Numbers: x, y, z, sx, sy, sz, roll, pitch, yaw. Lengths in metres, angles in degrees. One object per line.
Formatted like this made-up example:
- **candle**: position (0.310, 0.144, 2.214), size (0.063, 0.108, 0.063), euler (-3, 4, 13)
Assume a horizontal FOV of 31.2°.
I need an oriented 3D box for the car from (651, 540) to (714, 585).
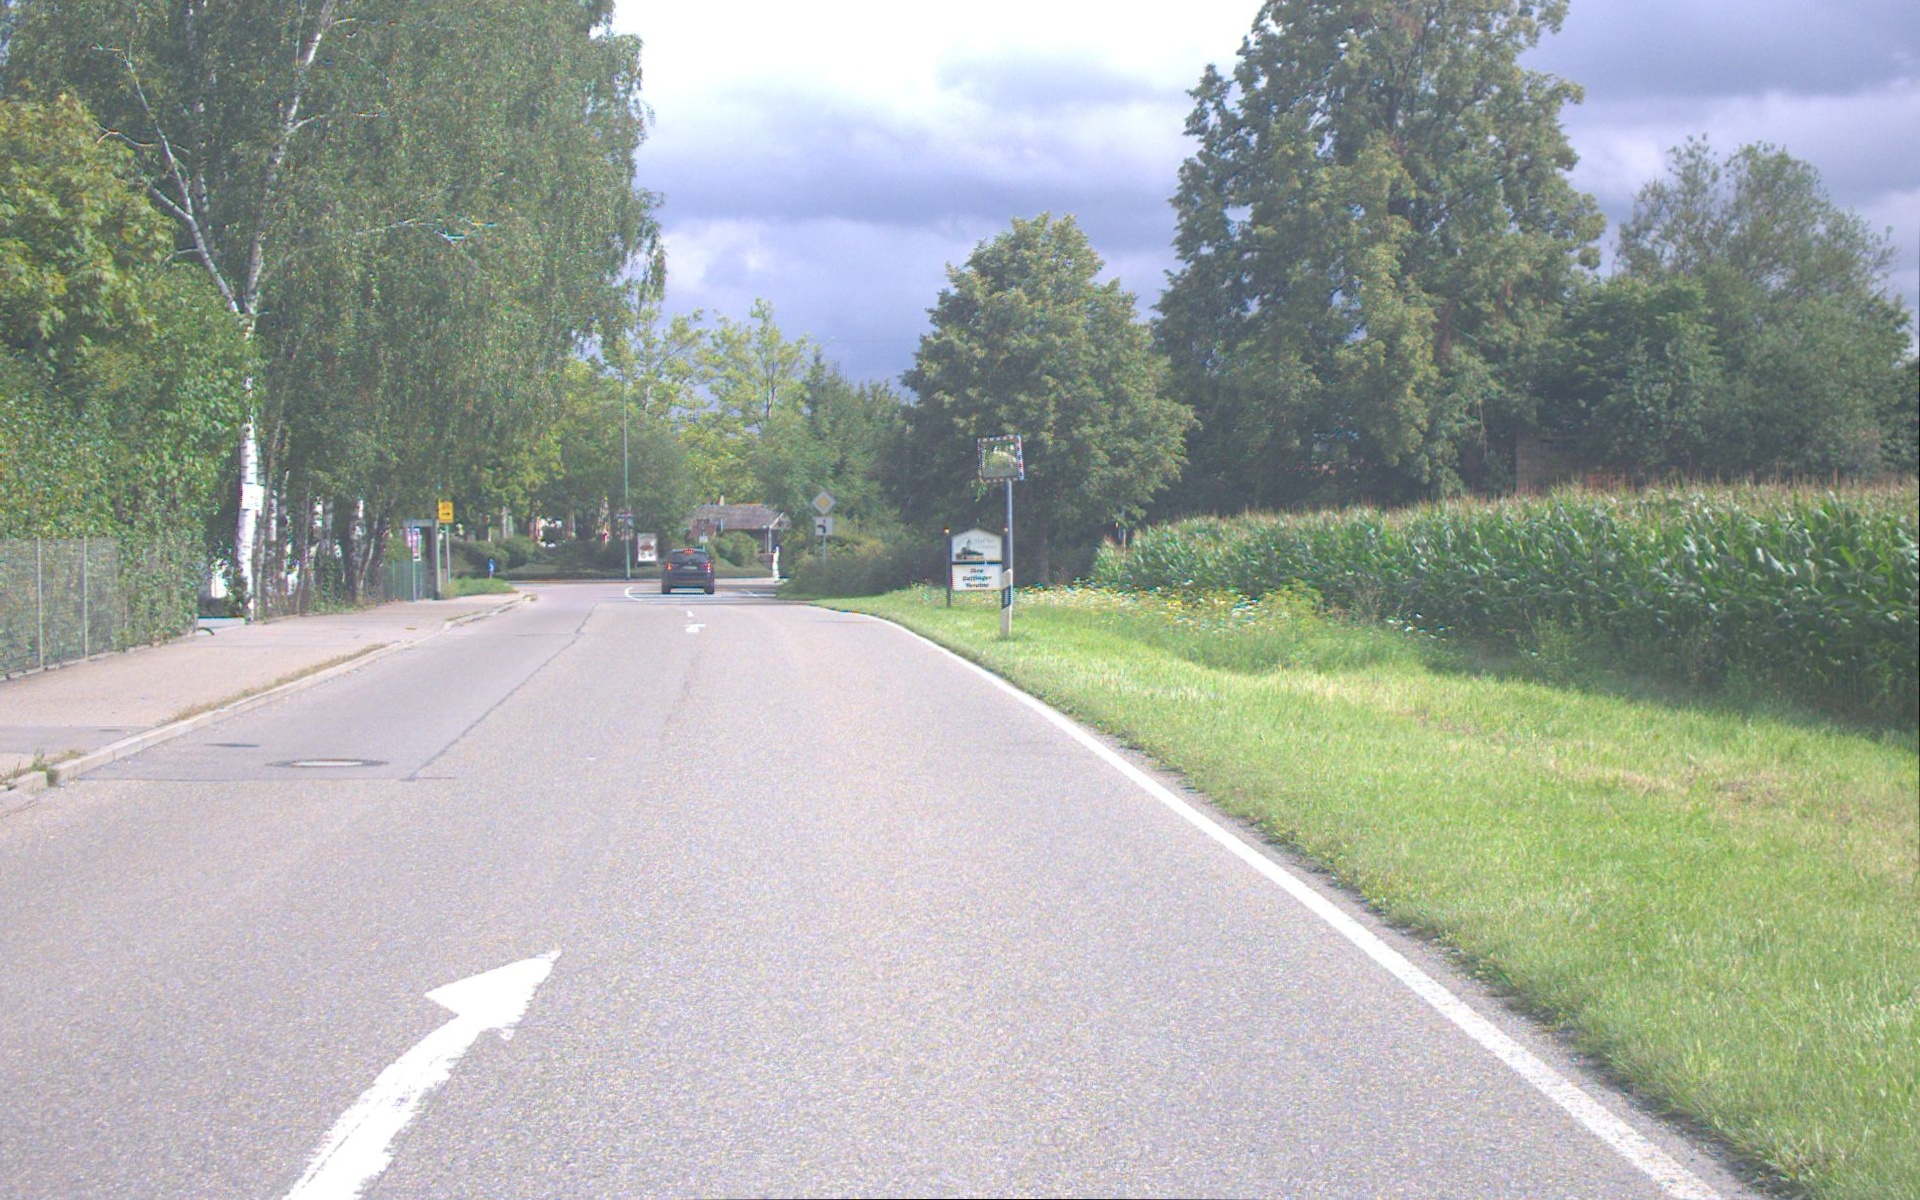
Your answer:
- **car**: position (-10.215, -1.386, 126.380), size (1.993, 1.579, 4.001), euler (0, 1, -9)
